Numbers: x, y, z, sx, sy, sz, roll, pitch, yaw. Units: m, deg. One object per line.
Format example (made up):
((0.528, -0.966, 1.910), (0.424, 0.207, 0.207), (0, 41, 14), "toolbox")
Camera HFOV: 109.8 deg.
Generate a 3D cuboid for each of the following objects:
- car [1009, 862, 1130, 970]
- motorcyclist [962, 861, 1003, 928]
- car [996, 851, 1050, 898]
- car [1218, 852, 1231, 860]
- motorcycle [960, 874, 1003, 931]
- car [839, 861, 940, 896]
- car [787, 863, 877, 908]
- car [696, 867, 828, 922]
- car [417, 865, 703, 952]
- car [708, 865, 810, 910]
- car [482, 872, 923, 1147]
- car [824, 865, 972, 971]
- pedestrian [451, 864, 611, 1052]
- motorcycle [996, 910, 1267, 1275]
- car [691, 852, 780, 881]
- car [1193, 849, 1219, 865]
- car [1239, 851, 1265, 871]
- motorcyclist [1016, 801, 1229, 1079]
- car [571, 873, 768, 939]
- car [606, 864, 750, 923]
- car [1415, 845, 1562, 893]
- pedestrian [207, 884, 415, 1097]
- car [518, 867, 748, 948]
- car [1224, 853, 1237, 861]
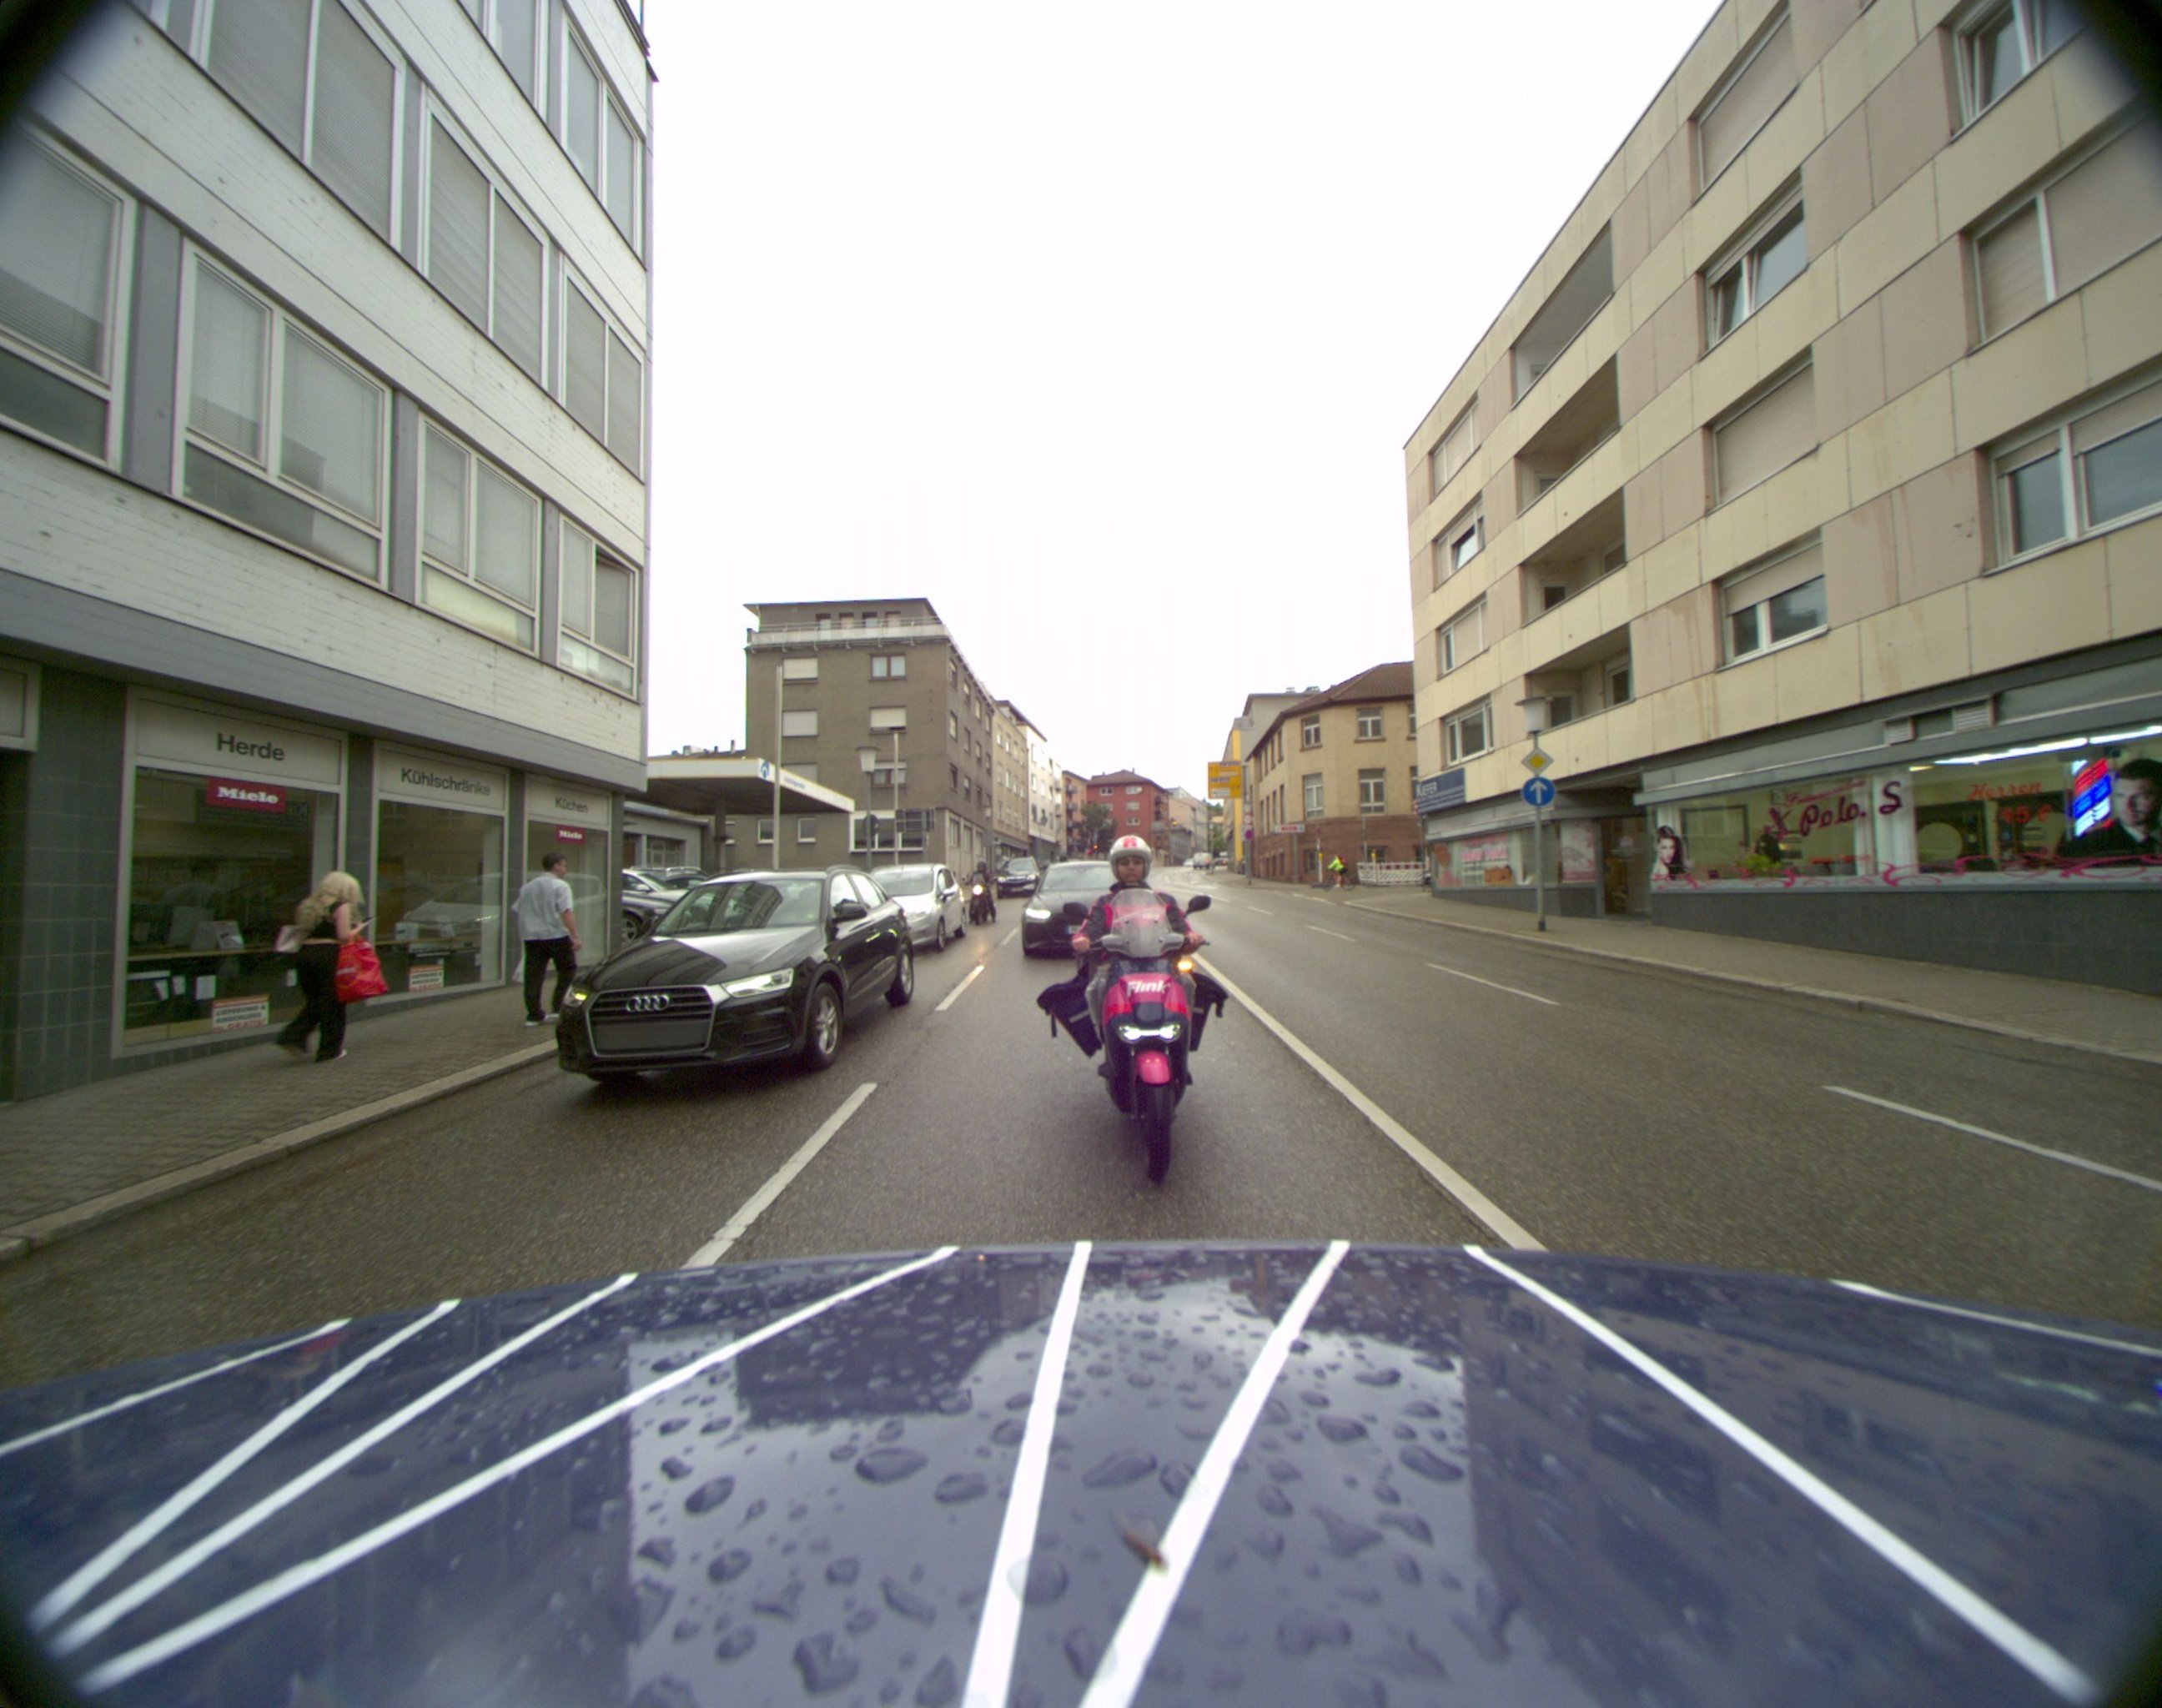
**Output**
((-0.049, 0.946, 13.355), (1.705, 1.451, 4.319), (-3, 0, 3), "car")
((-2.472, 1.003, 19.137), (0.847, 1.580, 0.962), (-4, 1, -4), "motorcyclist")
((-2.450, 0.845, 33.119), (1.848, 1.892, 3.766), (-1, 0, 3), "car")
((26.598, 0.420, 140.567), (1.860, 1.445, 4.323), (-1, 0, 16), "car")
((-2.473, 1.173, 19.151), (0.847, 1.219, 2.372), (-4, 0, -4), "motorcycle")
((-9.754, 1.244, 38.873), (4.531, 1.495, 2.001), (-3, 0, 5), "car")
((-9.353, 1.132, 28.925), (1.793, 1.503, 4.437), (-1, 0, 2), "car")
((-9.472, 1.156, 23.018), (1.792, 1.407, 4.616), (0, 0, 4), "car")
((-9.493, 1.003, 14.233), (4.003, 1.441, 1.796), (2, -1, -16), "car")
((-11.939, 1.220, 28.538), (1.792, 1.502, 4.420), (2, -1, 2), "car")
((-2.842, 1.039, 6.940), (1.828, 1.551, 4.201), (-4, 0, 0), "car")
((-3.280, 1.070, 14.478), (1.831, 1.532, 4.251), (-5, 0, -3), "car")
((-5.410, 0.971, 7.557), (0.786, 1.696, 1.120), (1, 1, -2), "pedestrian")
((0.270, 1.069, 4.409), (1.010, 1.218, 2.694), (-4, 0, 3), "motorcycle")
((-17.818, 0.662, 39.275), (3.751, 1.445, 1.795), (0, -2, 3), "car")
((14.636, 0.331, 88.707), (1.863, 1.793, 4.273), (0, 0, 26), "car")
((13.748, 0.526, 61.243), (1.861, 1.445, 3.966), (-4, -1, 10), "car")
((0.233, 0.447, 4.333), (1.010, 1.373, 0.835), (-4, 0, 3), "motorcyclist")
((-10.139, 1.242, 19.030), (4.001, 1.393, 1.669), (-1, 0, -13), "car")
((-12.043, 1.142, 23.099), (1.792, 1.535, 4.493), (2, -1, 2), "car")
((14.783, 0.540, 27.777), (4.358, 1.495, 1.755), (-3, 0, 11), "car")
((-6.126, 1.039, 6.107), (0.767, 1.542, 0.890), (1, 1, -2), "pedestrian")
((-9.671, 1.097, 16.746), (4.002, 1.521, 1.761), (-1, 0, -15), "car")
((26.567, 0.524, 135.111), (1.860, 1.445, 4.323), (-1, 0, 15), "car")
